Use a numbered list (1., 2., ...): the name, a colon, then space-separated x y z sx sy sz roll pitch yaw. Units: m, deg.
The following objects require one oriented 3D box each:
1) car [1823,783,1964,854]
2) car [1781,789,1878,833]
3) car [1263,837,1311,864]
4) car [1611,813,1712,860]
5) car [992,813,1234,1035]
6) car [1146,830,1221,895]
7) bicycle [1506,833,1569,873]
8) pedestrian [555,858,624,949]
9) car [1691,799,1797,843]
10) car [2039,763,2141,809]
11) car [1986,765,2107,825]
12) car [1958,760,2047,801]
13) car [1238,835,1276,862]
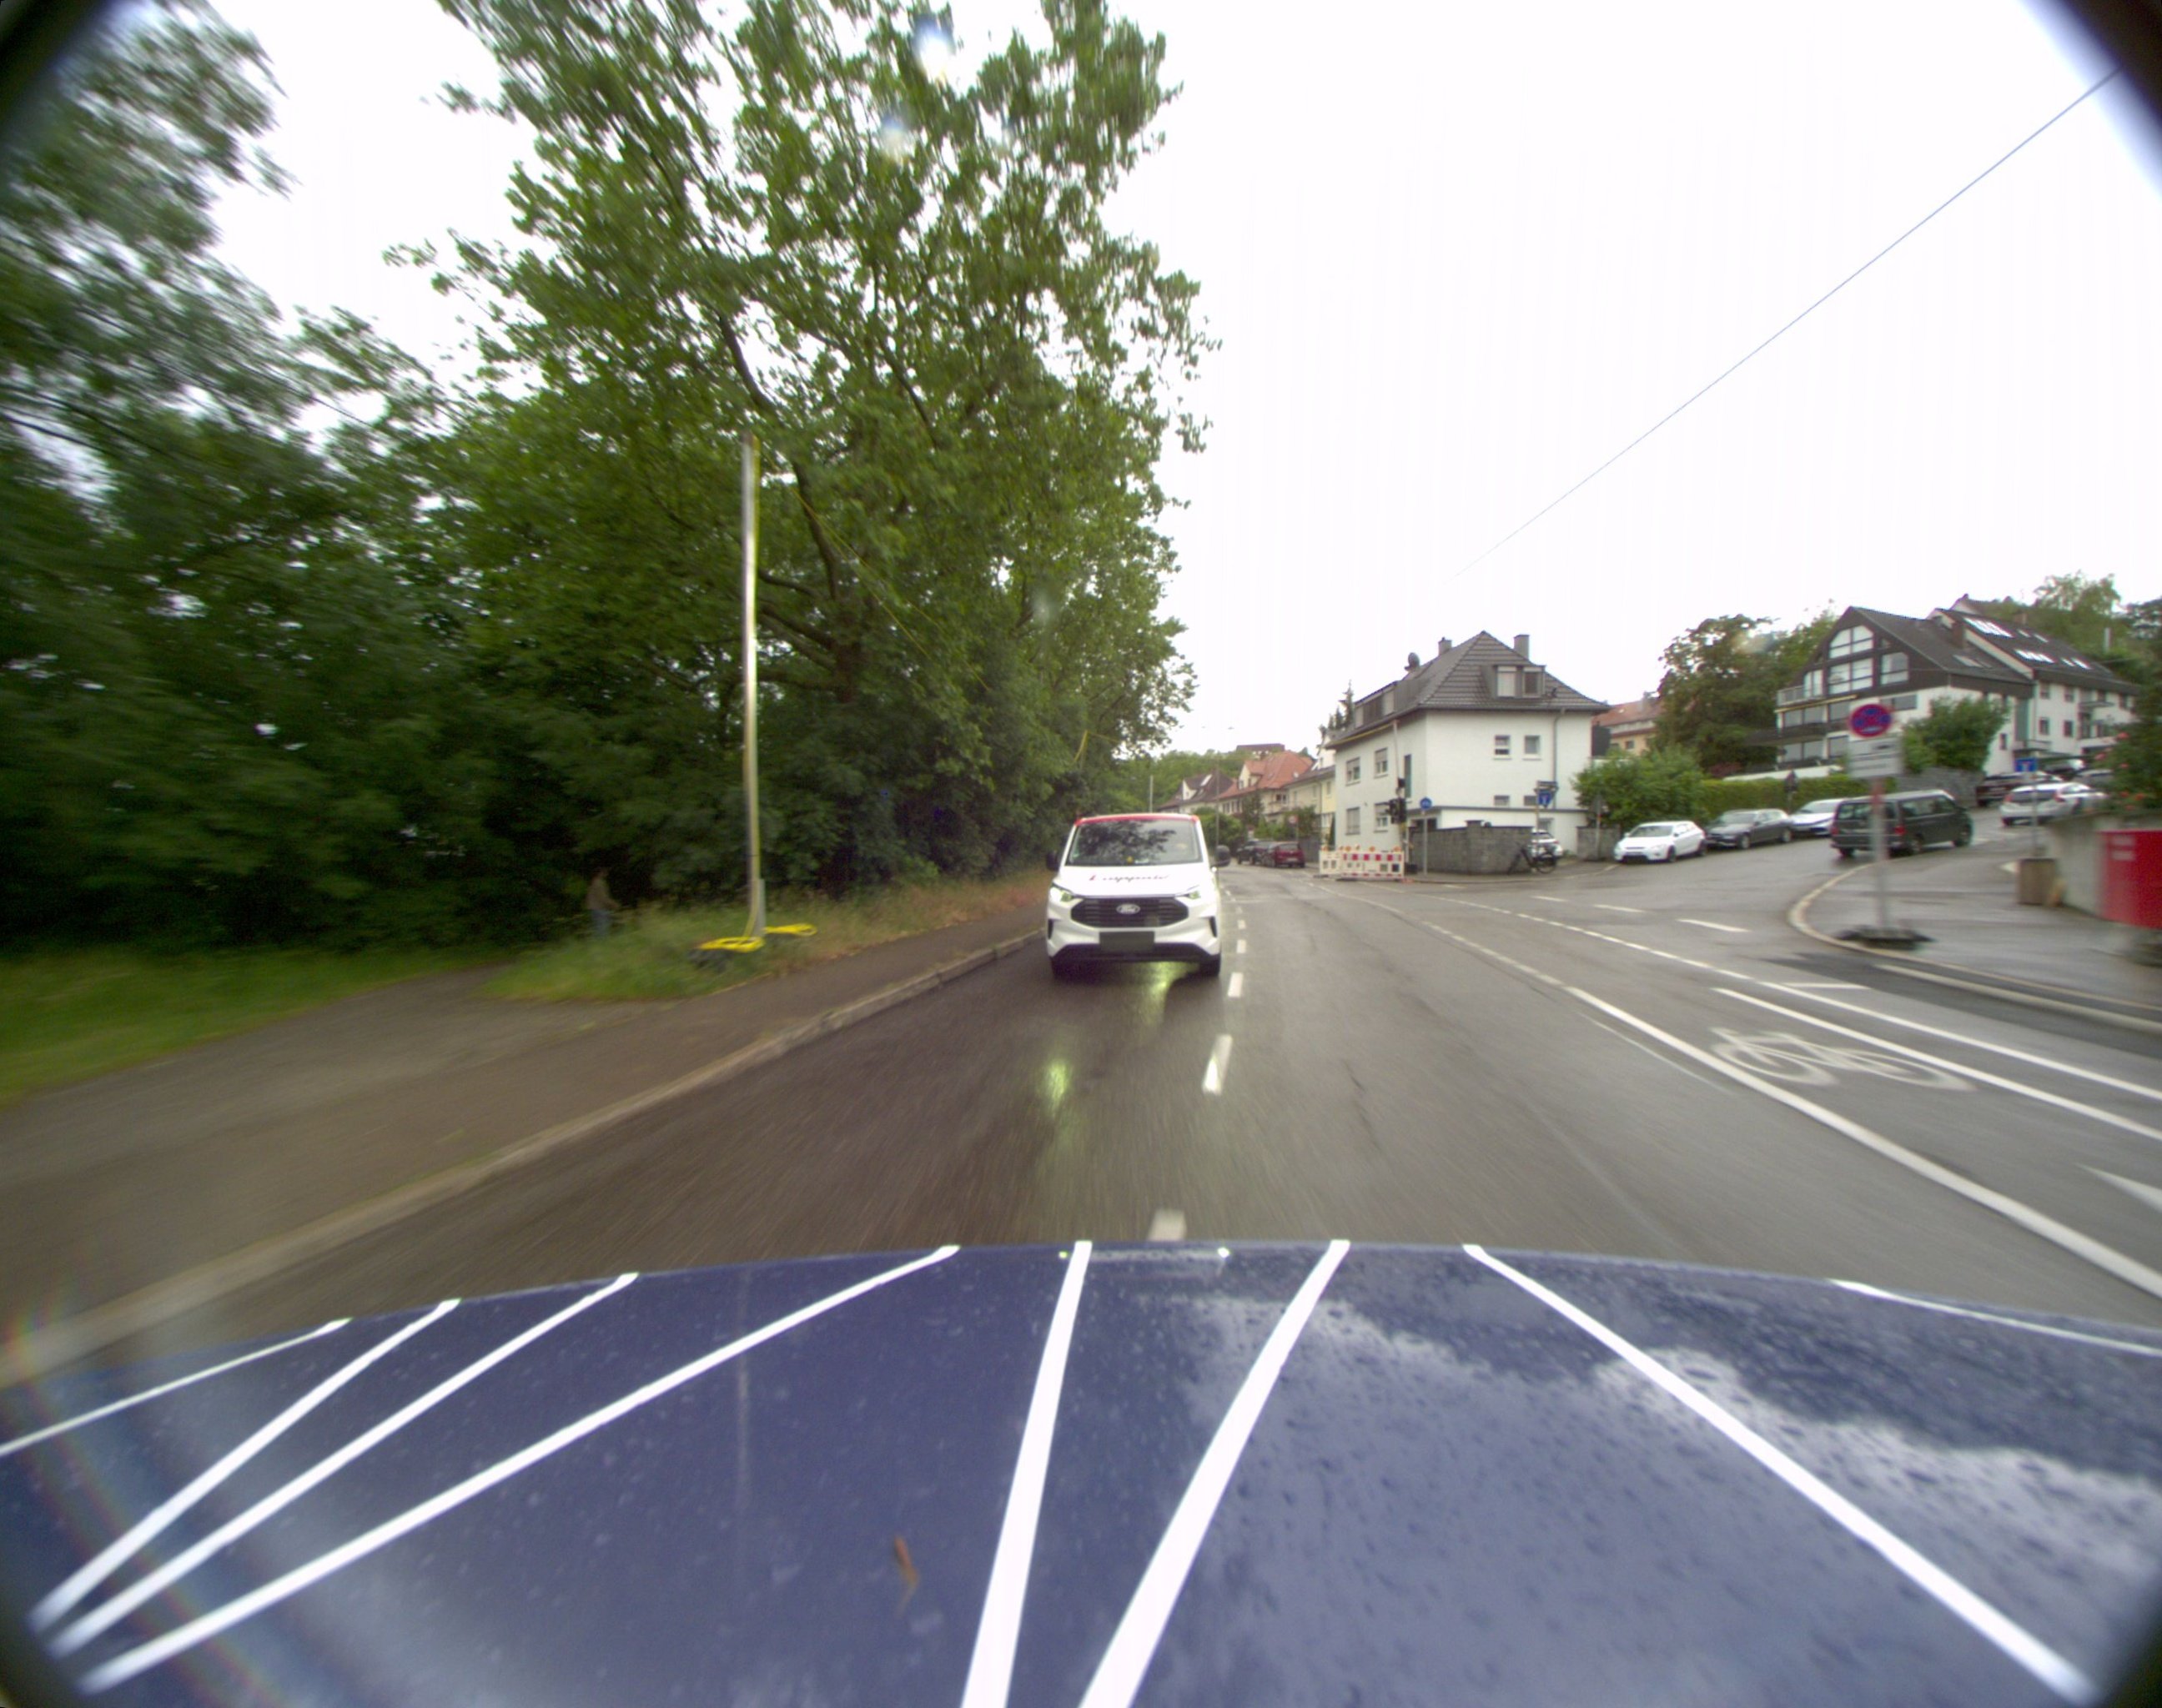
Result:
1. car: 27.815 -1.216 26.016 3.799 1.926 1.911 -8 3 -20
2. car: 32.762 -1.884 33.262 3.857 1.458 1.579 -7 3 -21
3. car: 11.656 -0.157 43.242 1.897 1.485 3.798 0 -1 3
4. car: 22.396 -0.674 29.308 3.565 1.458 1.746 -6 2 -28
5. car: 0.770 0.542 9.191 2.044 1.883 5.212 -2 2 12
6. car: 3.102 0.178 23.629 1.952 1.797 3.926 -2 2 3
7. bicycle: 15.765 -0.043 26.249 1.731 1.304 0.707 -2 2 4
8. pedestrian: -9.066 0.890 14.046 0.732 1.595 0.752 -2 2 -4
9. car: 27.678 -1.385 31.731 3.857 1.458 1.701 -6 2 -21
10. car: 42.888 -2.883 32.297 3.563 1.461 1.580 -8 3 -19
11. car: 37.817 -2.298 29.780 3.414 1.827 1.918 -8 3 -20
12. car: 47.070 -3.761 38.800 3.986 1.547 1.334 -8 3 -15
13. car: 11.161 -0.308 48.408 1.669 1.579 4.007 -2 -1 3
